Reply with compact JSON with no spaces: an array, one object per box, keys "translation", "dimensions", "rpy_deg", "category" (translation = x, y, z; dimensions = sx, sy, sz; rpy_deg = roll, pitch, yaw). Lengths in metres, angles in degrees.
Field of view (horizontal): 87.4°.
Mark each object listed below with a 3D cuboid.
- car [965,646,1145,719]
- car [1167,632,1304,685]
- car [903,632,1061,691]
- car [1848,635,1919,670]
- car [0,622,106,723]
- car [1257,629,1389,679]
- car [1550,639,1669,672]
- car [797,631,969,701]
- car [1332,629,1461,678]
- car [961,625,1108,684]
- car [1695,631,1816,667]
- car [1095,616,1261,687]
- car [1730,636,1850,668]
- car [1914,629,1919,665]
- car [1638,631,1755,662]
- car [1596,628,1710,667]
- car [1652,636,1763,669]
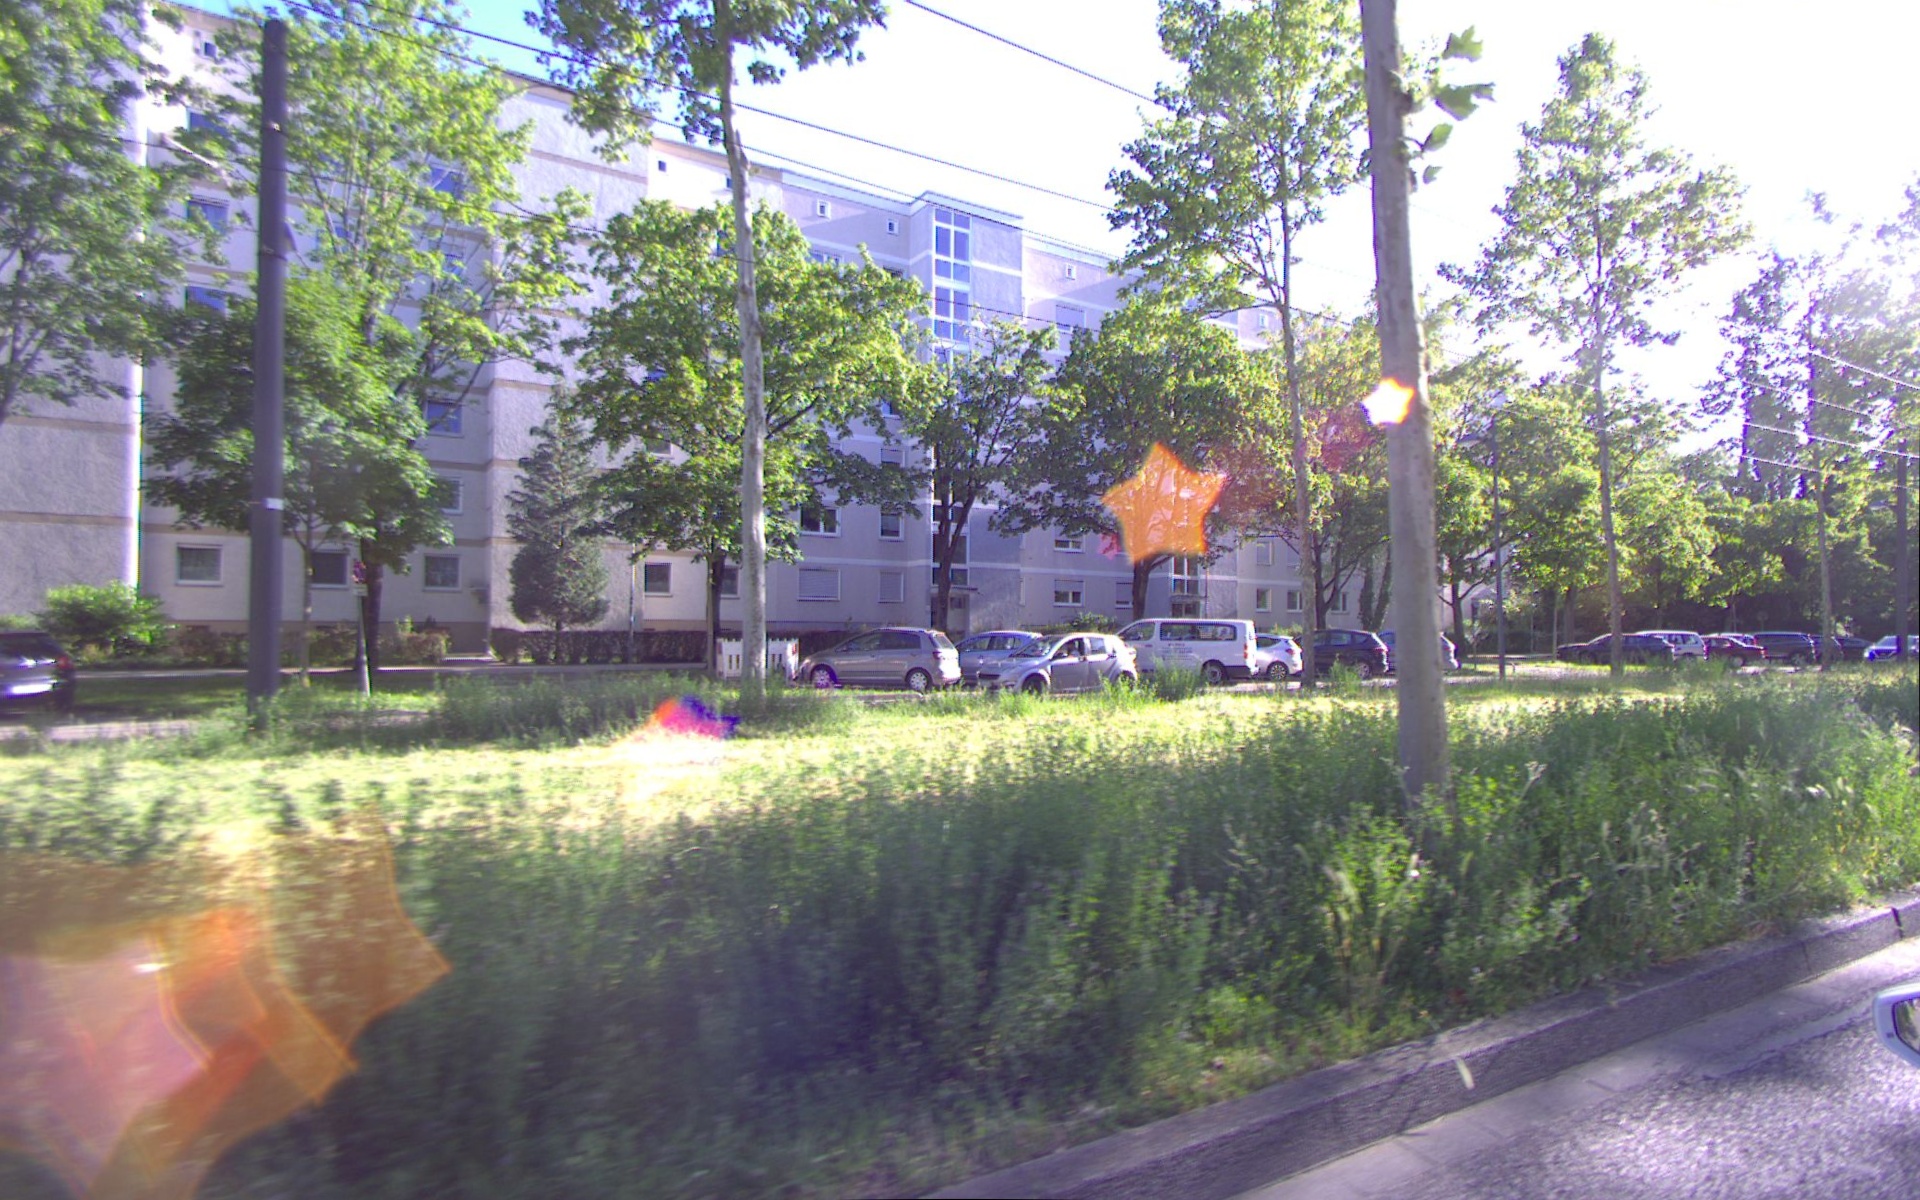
[{"translation":[2.161,1.801,22.600],"dimensions":[3.805,1.505,1.638],"rpy_deg":[2,-3,-30],"category":"car"},{"translation":[8.894,1.852,32.488],"dimensions":[4.009,1.451,1.577],"rpy_deg":[2,1,27],"category":"car"},{"translation":[0.623,1.635,27.405],"dimensions":[4.004,1.502,1.652],"rpy_deg":[0,-2,19],"category":"car"},{"translation":[42.421,2.341,45.726],"dimensions":[4.038,1.526,1.914],"rpy_deg":[1,-2,-31],"category":"car"},{"translation":[-16.992,1.180,17.094],"dimensions":[4.002,1.496,1.652],"rpy_deg":[-1,2,14],"category":"car"},{"translation":[12.265,1.789,33.963],"dimensions":[4.009,1.551,1.816],"rpy_deg":[-1,0,27],"category":"car"},{"translation":[28.580,2.437,44.320],"dimensions":[4.050,1.355,1.796],"rpy_deg":[0,-1,18],"category":"car"},{"translation":[-1.939,1.628,25.422],"dimensions":[4.004,1.667,1.652],"rpy_deg":[0,-2,19],"category":"car"},{"translation":[15.563,1.891,36.055],"dimensions":[4.003,1.628,1.996],"rpy_deg":[-1,0,16],"category":"car"},{"translation":[2.207,1.614,29.632],"dimensions":[4.003,1.450,1.581],"rpy_deg":[3,-5,17],"category":"car"},{"translation":[39.897,2.439,50.484],"dimensions":[4.397,1.697,1.796],"rpy_deg":[0,-2,18],"category":"car"},{"translation":[6.684,1.519,30.787],"dimensions":[4.706,2.033,1.891],"rpy_deg":[0,0,22],"category":"car"},{"translation":[43.031,2.659,52.178],"dimensions":[4.397,1.589,1.796],"rpy_deg":[0,-2,18],"category":"car"},{"translation":[59.508,2.860,60.392],"dimensions":[4.853,2.121,1.638],"rpy_deg":[1,1,-28],"category":"car"},{"translation":[36.417,2.290,49.814],"dimensions":[4.402,1.501,1.617],"rpy_deg":[-1,-2,25],"category":"car"},{"translation":[31.611,2.165,45.923],"dimensions":[3.900,1.697,1.788],"rpy_deg":[0,-2,18],"category":"car"},{"translation":[35.432,2.478,47.736],"dimensions":[3.843,1.507,1.796],"rpy_deg":[0,-2,18],"category":"car"}]
